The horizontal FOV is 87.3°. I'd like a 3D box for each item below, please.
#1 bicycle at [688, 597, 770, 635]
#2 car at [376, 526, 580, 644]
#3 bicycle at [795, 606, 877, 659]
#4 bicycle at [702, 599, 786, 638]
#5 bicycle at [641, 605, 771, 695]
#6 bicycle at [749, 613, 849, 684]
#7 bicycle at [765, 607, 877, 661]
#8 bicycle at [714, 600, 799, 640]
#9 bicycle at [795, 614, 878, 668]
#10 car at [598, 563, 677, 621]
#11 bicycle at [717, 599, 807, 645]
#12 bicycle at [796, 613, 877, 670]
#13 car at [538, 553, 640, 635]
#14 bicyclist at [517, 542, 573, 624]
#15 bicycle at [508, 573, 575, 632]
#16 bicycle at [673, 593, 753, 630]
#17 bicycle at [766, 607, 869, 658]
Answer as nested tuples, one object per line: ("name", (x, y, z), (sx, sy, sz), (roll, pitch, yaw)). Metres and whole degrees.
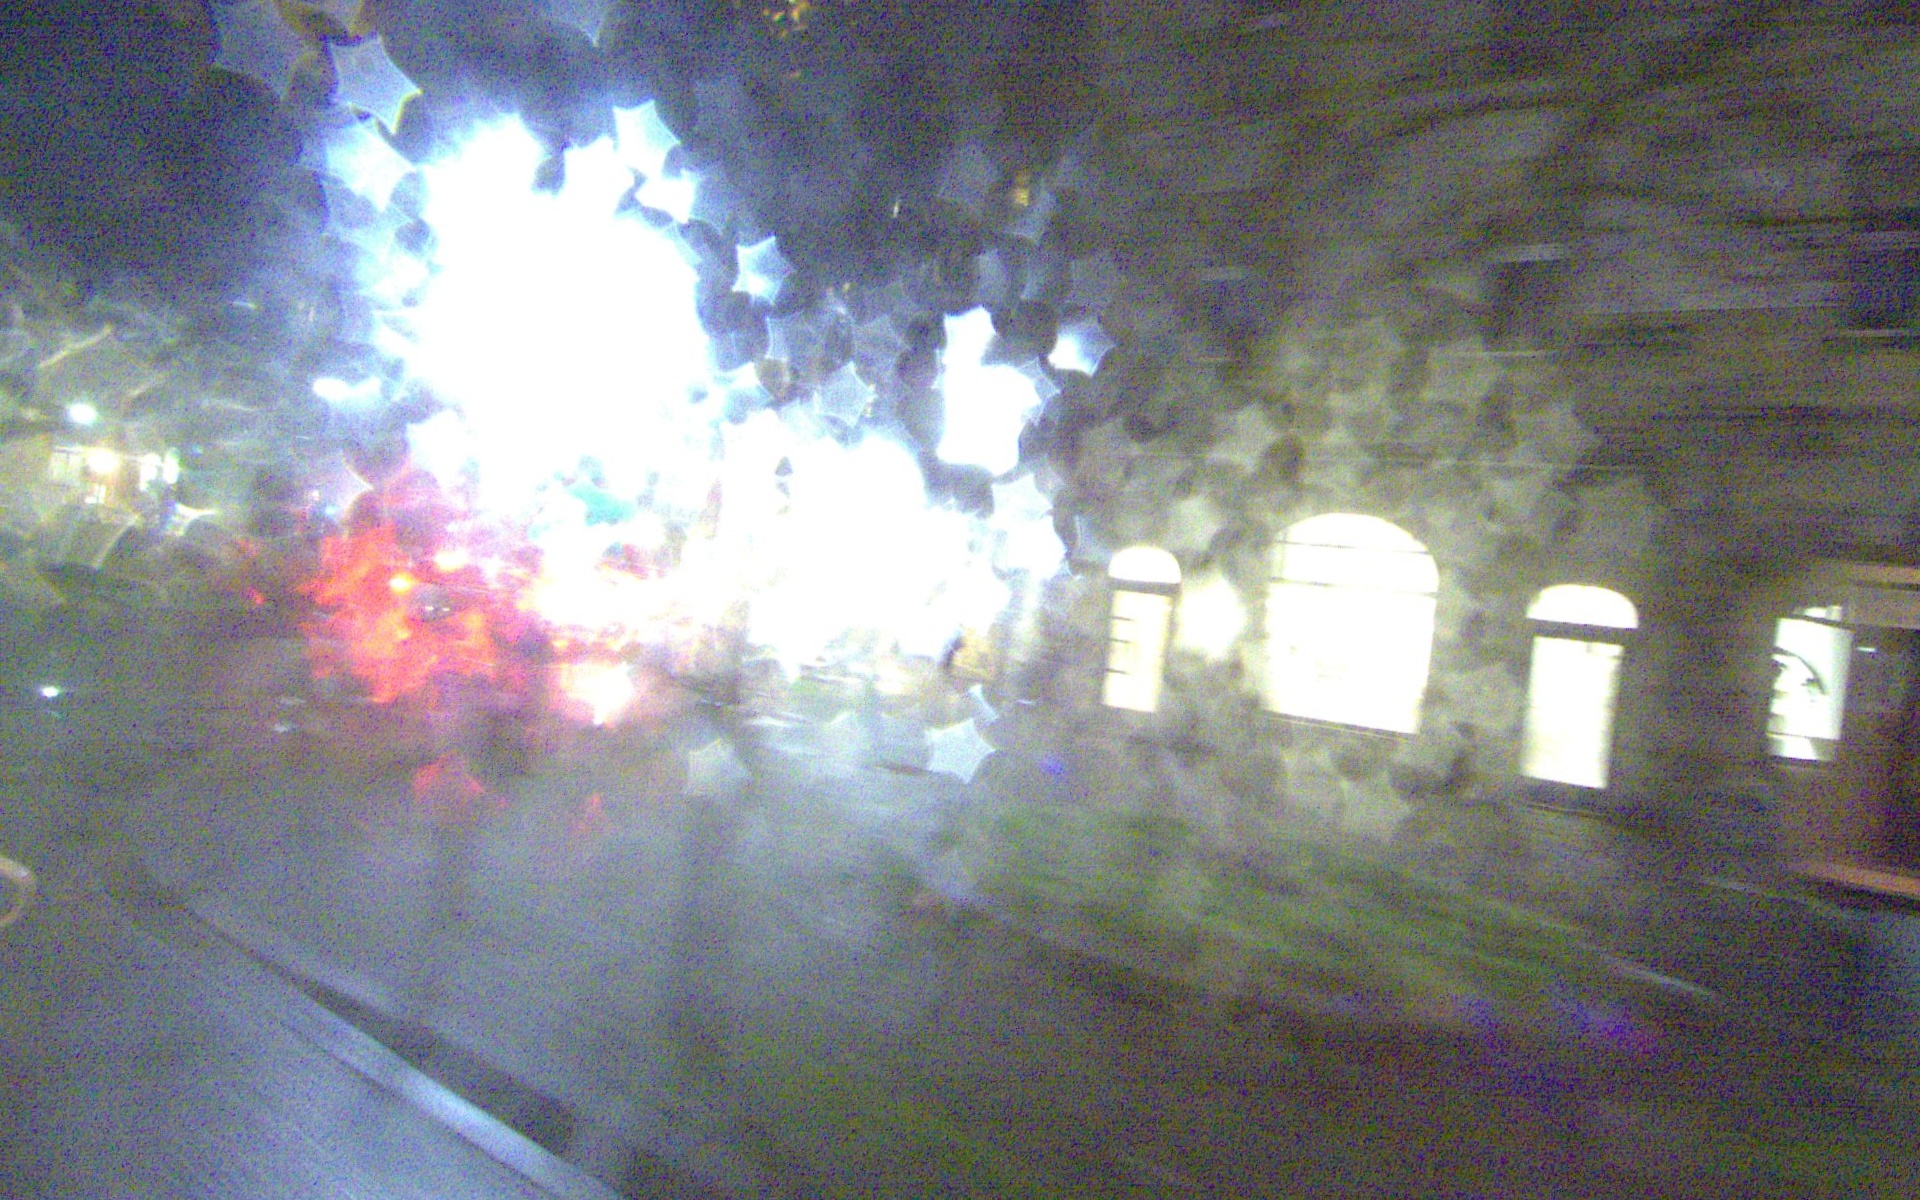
("bicycle", (-8.399, 0.599, 36.653), (2.747, 1.039, 0.719), (8, 0, -31))
("car", (-8.473, -0.166, 18.057), (1.704, 1.631, 3.466), (8, -3, 2))
("bicycle", (-3.109, 0.811, 25.166), (1.904, 1.072, 0.450), (7, 1, -8))
("bicycle", (-7.630, 0.658, 35.664), (2.747, 1.039, 0.719), (8, 0, -31))
("bicycle", (-3.618, 0.707, 14.402), (1.633, 1.072, 0.450), (7, 1, -3))
("bicycle", (-2.892, 0.872, 18.185), (1.633, 1.072, 0.450), (7, 1, -3))
("bicycle", (-3.595, 0.869, 26.032), (2.729, 1.039, 0.724), (8, 0, -8))
("bicycle", (-6.958, 0.693, 34.501), (2.752, 1.039, 0.718), (8, -1, -36))
("bicycle", (-3.015, 1.009, 24.586), (1.904, 1.072, 0.450), (7, 1, -8))
("car", (-12.034, -0.307, 37.381), (1.978, 1.747, 3.976), (9, -3, -27))
("bicycle", (-6.486, 0.728, 33.072), (2.729, 1.143, 0.724), (8, 0, -8))
("bicycle", (-2.839, 0.951, 23.208), (1.704, 1.072, 0.450), (7, 1, -3))
("car", (-9.805, -0.104, 26.877), (1.970, 1.747, 3.991), (9, -3, -15))
("bicyclist", (-9.354, -0.369, 22.699), (0.786, 1.693, 0.707), (8, -2, -5))
("bicycle", (-9.417, 0.079, 22.691), (0.763, 1.161, 1.716), (8, -3, -5))
("bicycle", (-9.351, 0.446, 38.144), (2.747, 1.039, 0.719), (8, 0, -31))
("bicycle", (-3.965, 0.907, 28.096), (2.729, 1.039, 0.724), (8, 0, -8))
